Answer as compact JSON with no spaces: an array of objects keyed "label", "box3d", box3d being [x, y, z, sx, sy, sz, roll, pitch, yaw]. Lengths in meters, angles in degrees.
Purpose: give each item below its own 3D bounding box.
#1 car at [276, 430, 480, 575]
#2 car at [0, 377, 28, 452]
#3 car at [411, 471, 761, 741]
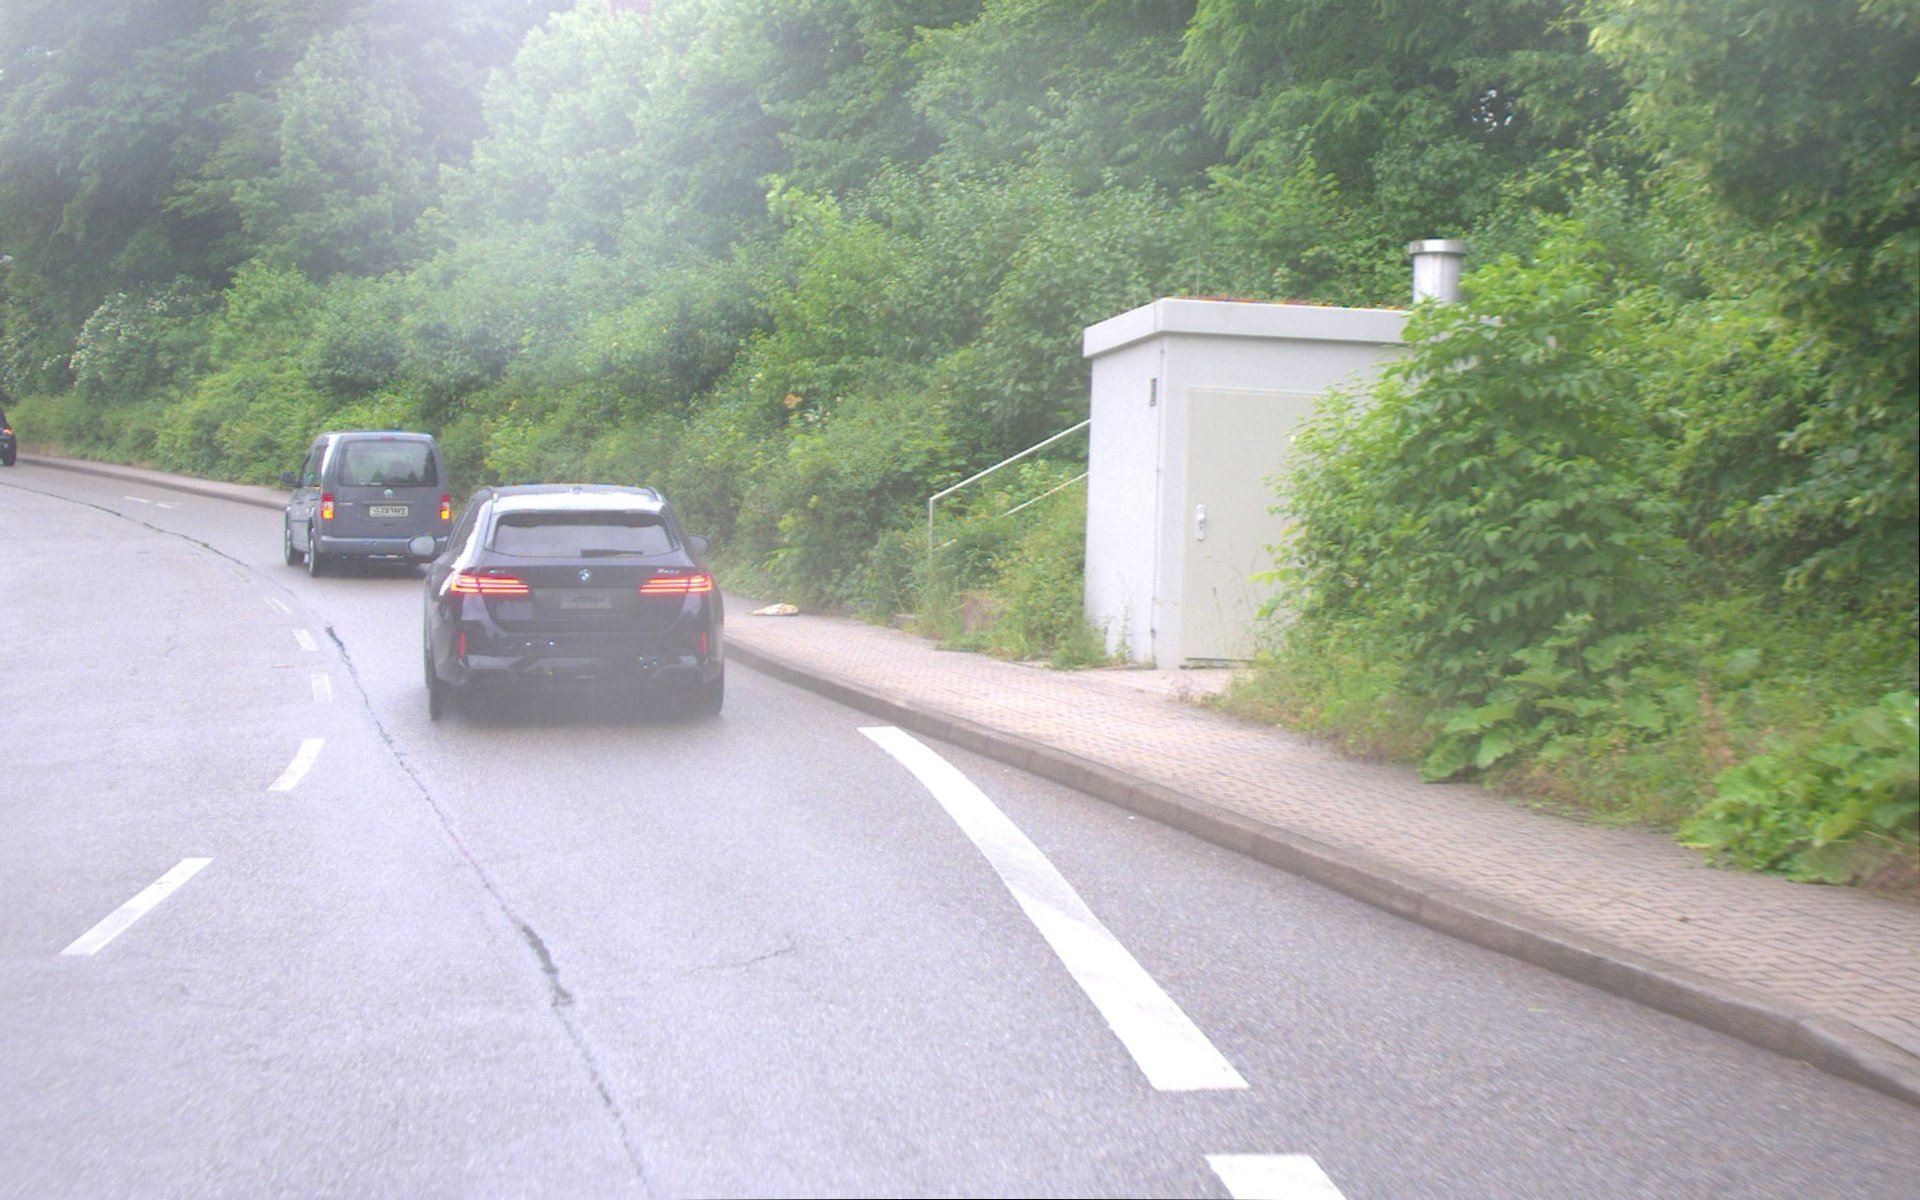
[{"label":"car","box3d":[-7.474,-1.263,43.843,1.993,1.742,4.002,0,2,-18]},{"label":"car","box3d":[-23.604,-4.401,81.608,1.851,1.656,4.000,2,0,-30]},{"label":"car","box3d":[-2.632,-0.034,23.198,1.993,1.580,4.665,2,2,-10]}]
